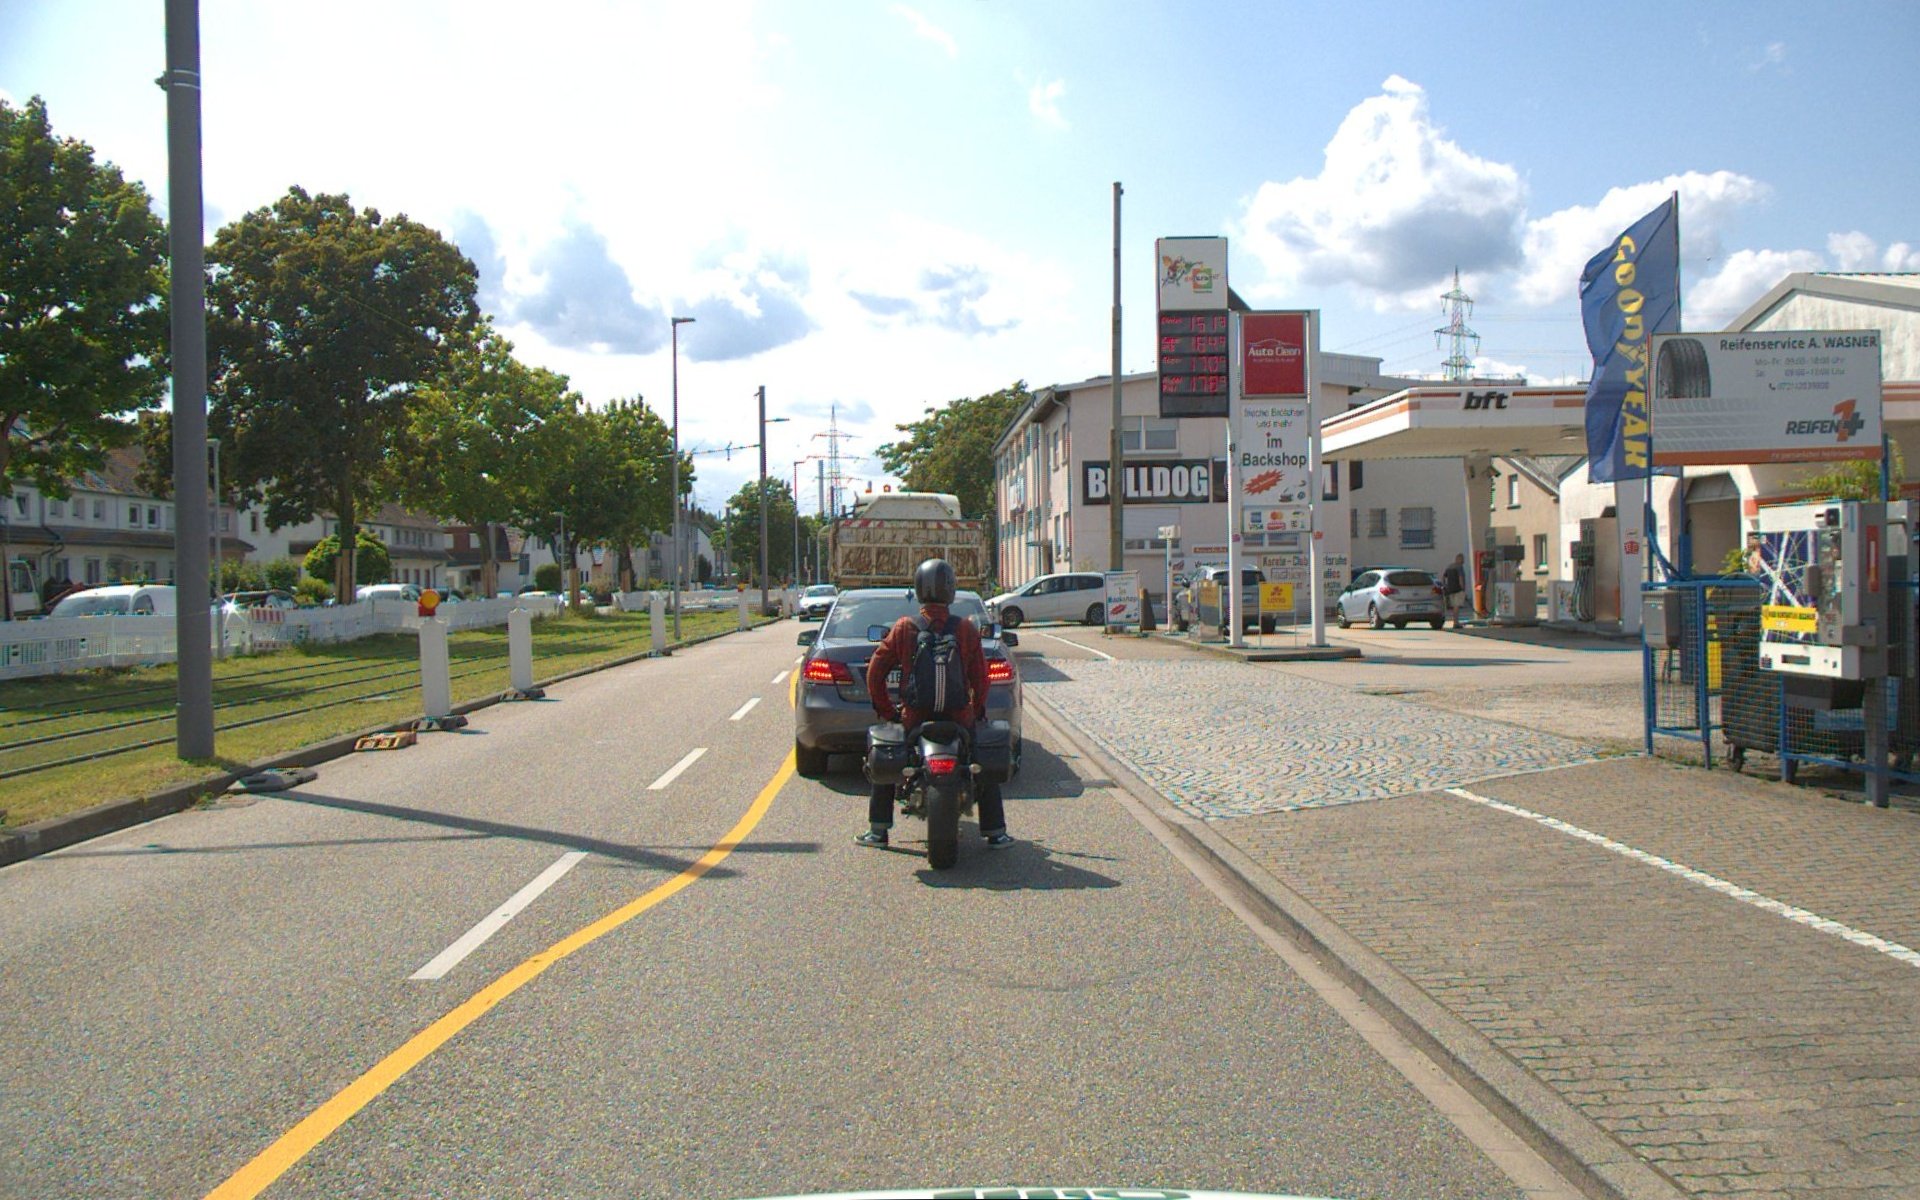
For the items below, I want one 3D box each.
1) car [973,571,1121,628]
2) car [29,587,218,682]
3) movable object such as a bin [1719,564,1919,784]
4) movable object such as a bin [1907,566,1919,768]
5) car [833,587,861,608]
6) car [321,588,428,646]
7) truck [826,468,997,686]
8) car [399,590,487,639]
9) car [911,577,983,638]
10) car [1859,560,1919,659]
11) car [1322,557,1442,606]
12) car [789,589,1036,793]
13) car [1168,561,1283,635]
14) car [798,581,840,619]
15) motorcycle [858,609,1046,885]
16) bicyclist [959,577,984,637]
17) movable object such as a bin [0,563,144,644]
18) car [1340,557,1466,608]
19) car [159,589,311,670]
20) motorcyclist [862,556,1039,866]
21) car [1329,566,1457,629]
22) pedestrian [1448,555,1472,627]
[{"bbox_3d":[2.682,-0.008,51.654,4.252,1.578,1.945,-2,0,-10],"label":"car"},{"bbox_3d":[-17.273,0.673,34.377,1.953,1.780,3.998,-2,0,-2],"label":"car"},{"bbox_3d":[6.215,0.499,11.739,1.231,1.469,0.823,-2,0,-2],"label":"movable object such as a bin"},{"bbox_3d":[7.566,0.465,11.683,1.231,1.469,0.823,-2,0,-2],"label":"movable object such as a bin"},{"bbox_3d":[-8.074,-0.187,118.152,1.809,1.411,4.342,-2,0,-2],"label":"car"},{"bbox_3d":[-18.042,0.499,51.168,1.953,1.634,3.998,-2,0,-2],"label":"car"},{"bbox_3d":[-0.866,-0.492,30.364,2.558,3.312,9.180,-2,2,-1],"label":"truck"},{"bbox_3d":[-18.320,0.501,58.806,1.953,1.634,3.998,-2,0,-2],"label":"car"},{"bbox_3d":[-0.376,0.161,43.253,1.785,1.489,3.999,-1,1,-2],"label":"car"},{"bbox_3d":[14.984,0.078,23.750,3.253,1.384,1.611,-2,0,-2],"label":"car"},{"bbox_3d":[15.770,-0.692,61.868,3.907,1.677,1.964,-2,0,-3],"label":"car"},{"bbox_3d":[-0.410,0.648,14.045,1.785,1.449,3.999,-1,1,-2],"label":"car"},{"bbox_3d":[6.530,-0.055,41.125,1.921,1.677,3.997,-2,0,-4],"label":"car"},{"bbox_3d":[-5.832,-0.027,68.931,1.622,1.472,4.300,-2,1,-4],"label":"car"},{"bbox_3d":[-0.083,0.744,9.582,0.920,1.343,2.644,1,0,-2],"label":"motorcycle"},{"bbox_3d":[0.341,0.199,49.124,0.658,1.774,0.813,-1,0,-3],"label":"bicyclist"},{"bbox_3d":[-28.924,0.096,53.607,4.279,2.492,1.775,-2,1,-24],"label":"movable object such as a bin"},{"bbox_3d":[15.868,-0.618,59.325,3.907,1.677,1.964,-2,0,-3],"label":"car"},{"bbox_3d":[-17.359,0.670,39.815,1.953,1.780,3.998,-2,0,-2],"label":"car"},{"bbox_3d":[-0.072,0.589,9.401,0.920,1.643,1.204,1,0,-2],"label":"motorcyclist"},{"bbox_3d":[10.924,-0.063,42.018,1.921,1.445,3.997,-2,0,-4],"label":"car"},{"bbox_3d":[12.169,-0.213,40.251,0.388,1.718,0.485,-2,0,-1],"label":"pedestrian"}]
